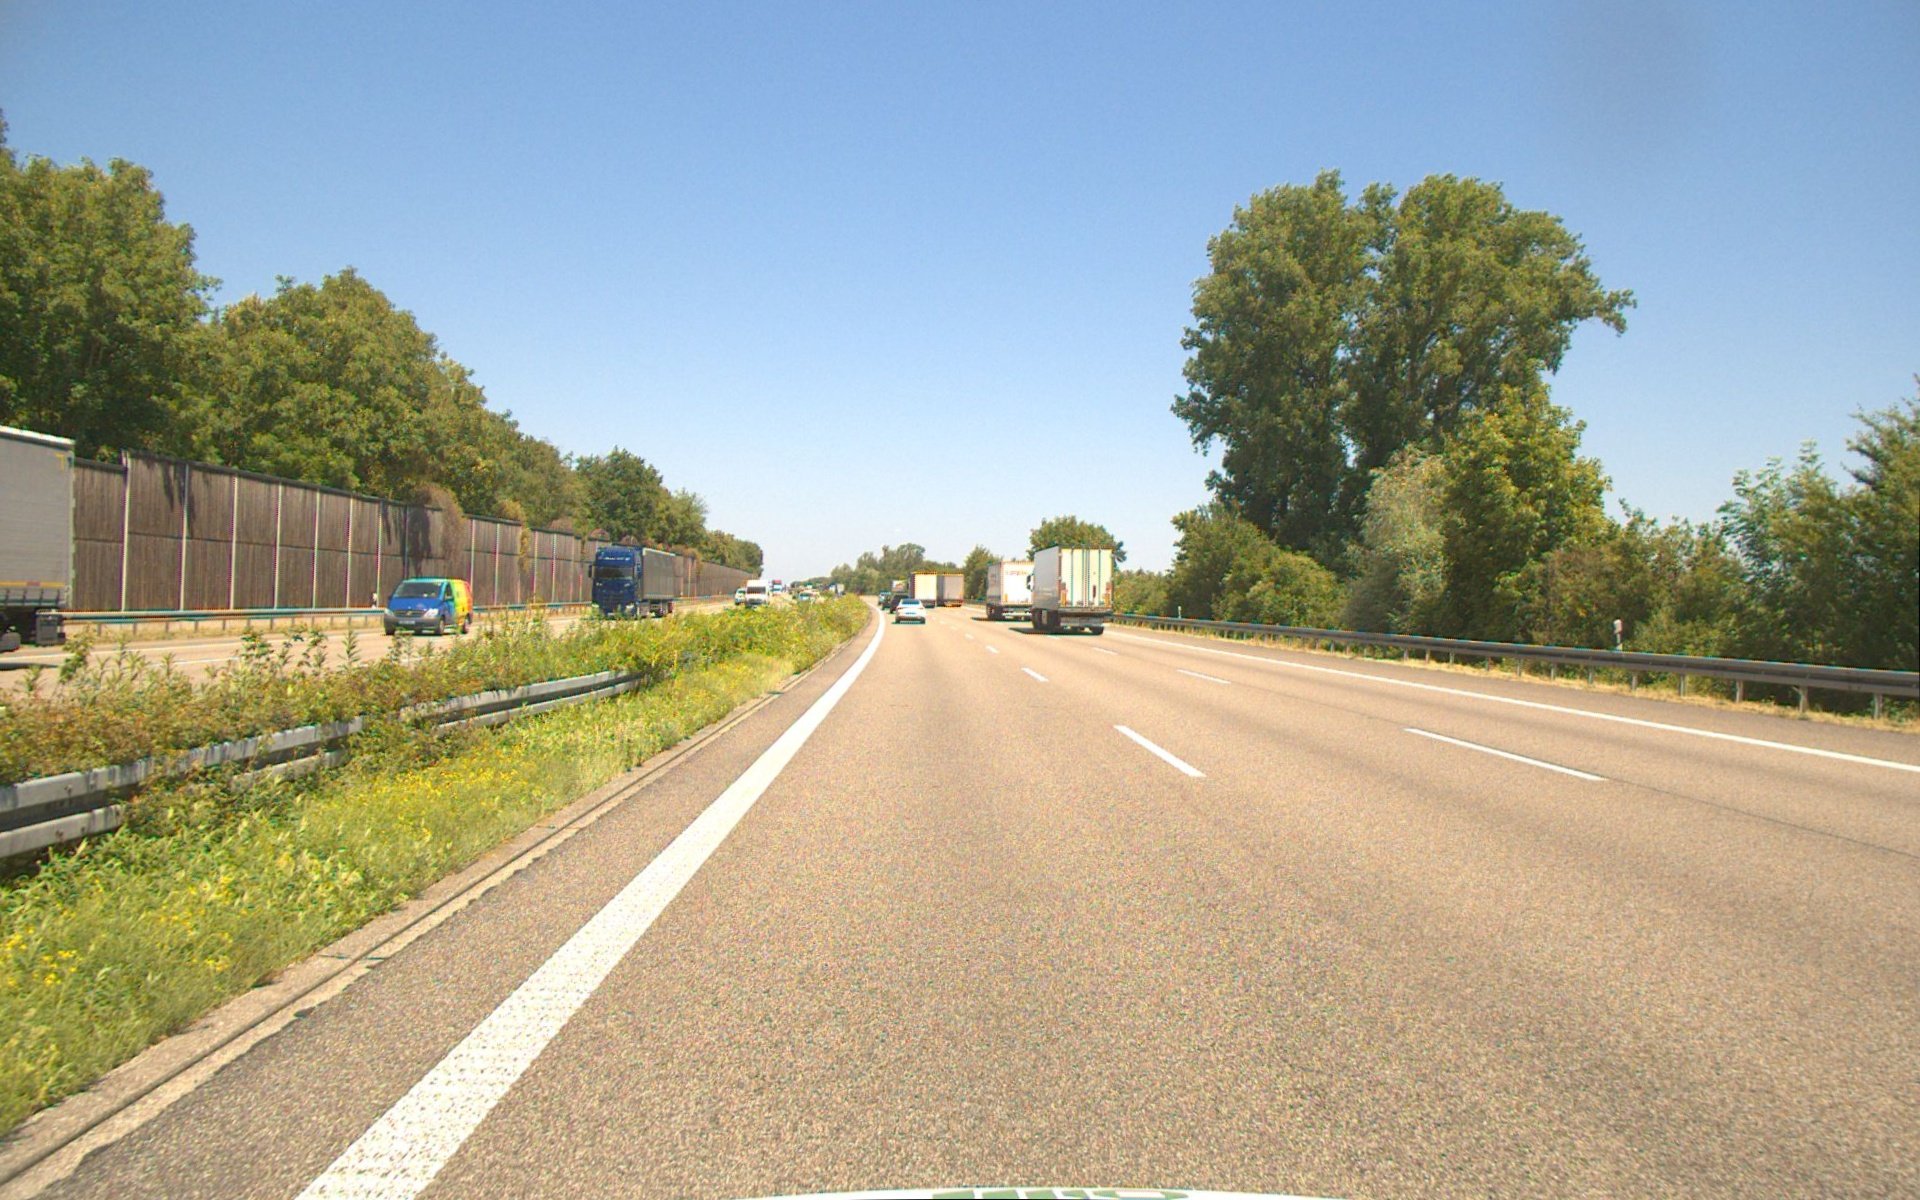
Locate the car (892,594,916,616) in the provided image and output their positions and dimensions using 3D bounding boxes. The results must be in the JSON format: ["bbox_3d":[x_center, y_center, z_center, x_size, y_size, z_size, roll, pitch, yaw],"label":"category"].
[{"bbox_3d":[-4.832,0.431,142.703,1.953,1.803,3.998,1,0,-2],"label":"car"}]

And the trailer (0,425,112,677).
[{"bbox_3d":[-16.853,-0.827,23.861,2.453,4.105,13.418,1,0,-1],"label":"trailer"}]

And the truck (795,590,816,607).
[{"bbox_3d":[-15.199,-0.129,162.913,1.781,1.550,3.626,1,-1,-2],"label":"truck"}]

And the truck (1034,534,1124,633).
[{"bbox_3d":[5.607,-0.704,80.013,3.421,4.387,10.986,1,-1,0],"label":"truck"}]

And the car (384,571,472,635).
[{"bbox_3d":[-18.065,0.107,56.350,1.765,2.049,3.998,1,0,-2],"label":"car"}]

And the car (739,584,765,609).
[{"bbox_3d":[-18.015,-0.296,143.638,1.954,2.049,3.997,1,0,-4],"label":"car"}]

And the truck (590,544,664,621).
[{"bbox_3d":[-19.220,-0.955,96.039,2.558,4.200,10.275,1,0,-3],"label":"truck"}]

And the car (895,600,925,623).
[{"bbox_3d":[-3.023,0.679,100.714,1.680,1.393,3.375,1,0,0],"label":"car"}]

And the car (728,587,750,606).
[{"bbox_3d":[-24.542,-0.348,183.944,1.953,2.049,3.999,1,-1,0],"label":"car"}]

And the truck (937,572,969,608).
[{"bbox_3d":[-0.947,-1.258,215.063,3.753,4.387,11.549,1,-1,-2],"label":"truck"}]

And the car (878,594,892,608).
[{"bbox_3d":[-9.790,0.150,215.403,1.689,1.814,3.999,1,0,-1],"label":"car"}]

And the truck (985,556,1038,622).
[{"bbox_3d":[3.583,-0.700,118.401,3.291,4.387,10.826,1,-1,0],"label":"truck"}]

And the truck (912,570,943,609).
[{"bbox_3d":[-3.926,-1.210,197.310,3.508,4.387,12.185,1,-1,-2],"label":"truck"}]

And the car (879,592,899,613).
[{"bbox_3d":[-7.338,0.261,171.835,1.953,2.049,3.999,1,0,-1],"label":"car"}]

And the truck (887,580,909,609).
[{"bbox_3d":[-7.676,-0.712,205.409,2.492,3.473,8.378,1,0,-1],"label":"truck"}]
